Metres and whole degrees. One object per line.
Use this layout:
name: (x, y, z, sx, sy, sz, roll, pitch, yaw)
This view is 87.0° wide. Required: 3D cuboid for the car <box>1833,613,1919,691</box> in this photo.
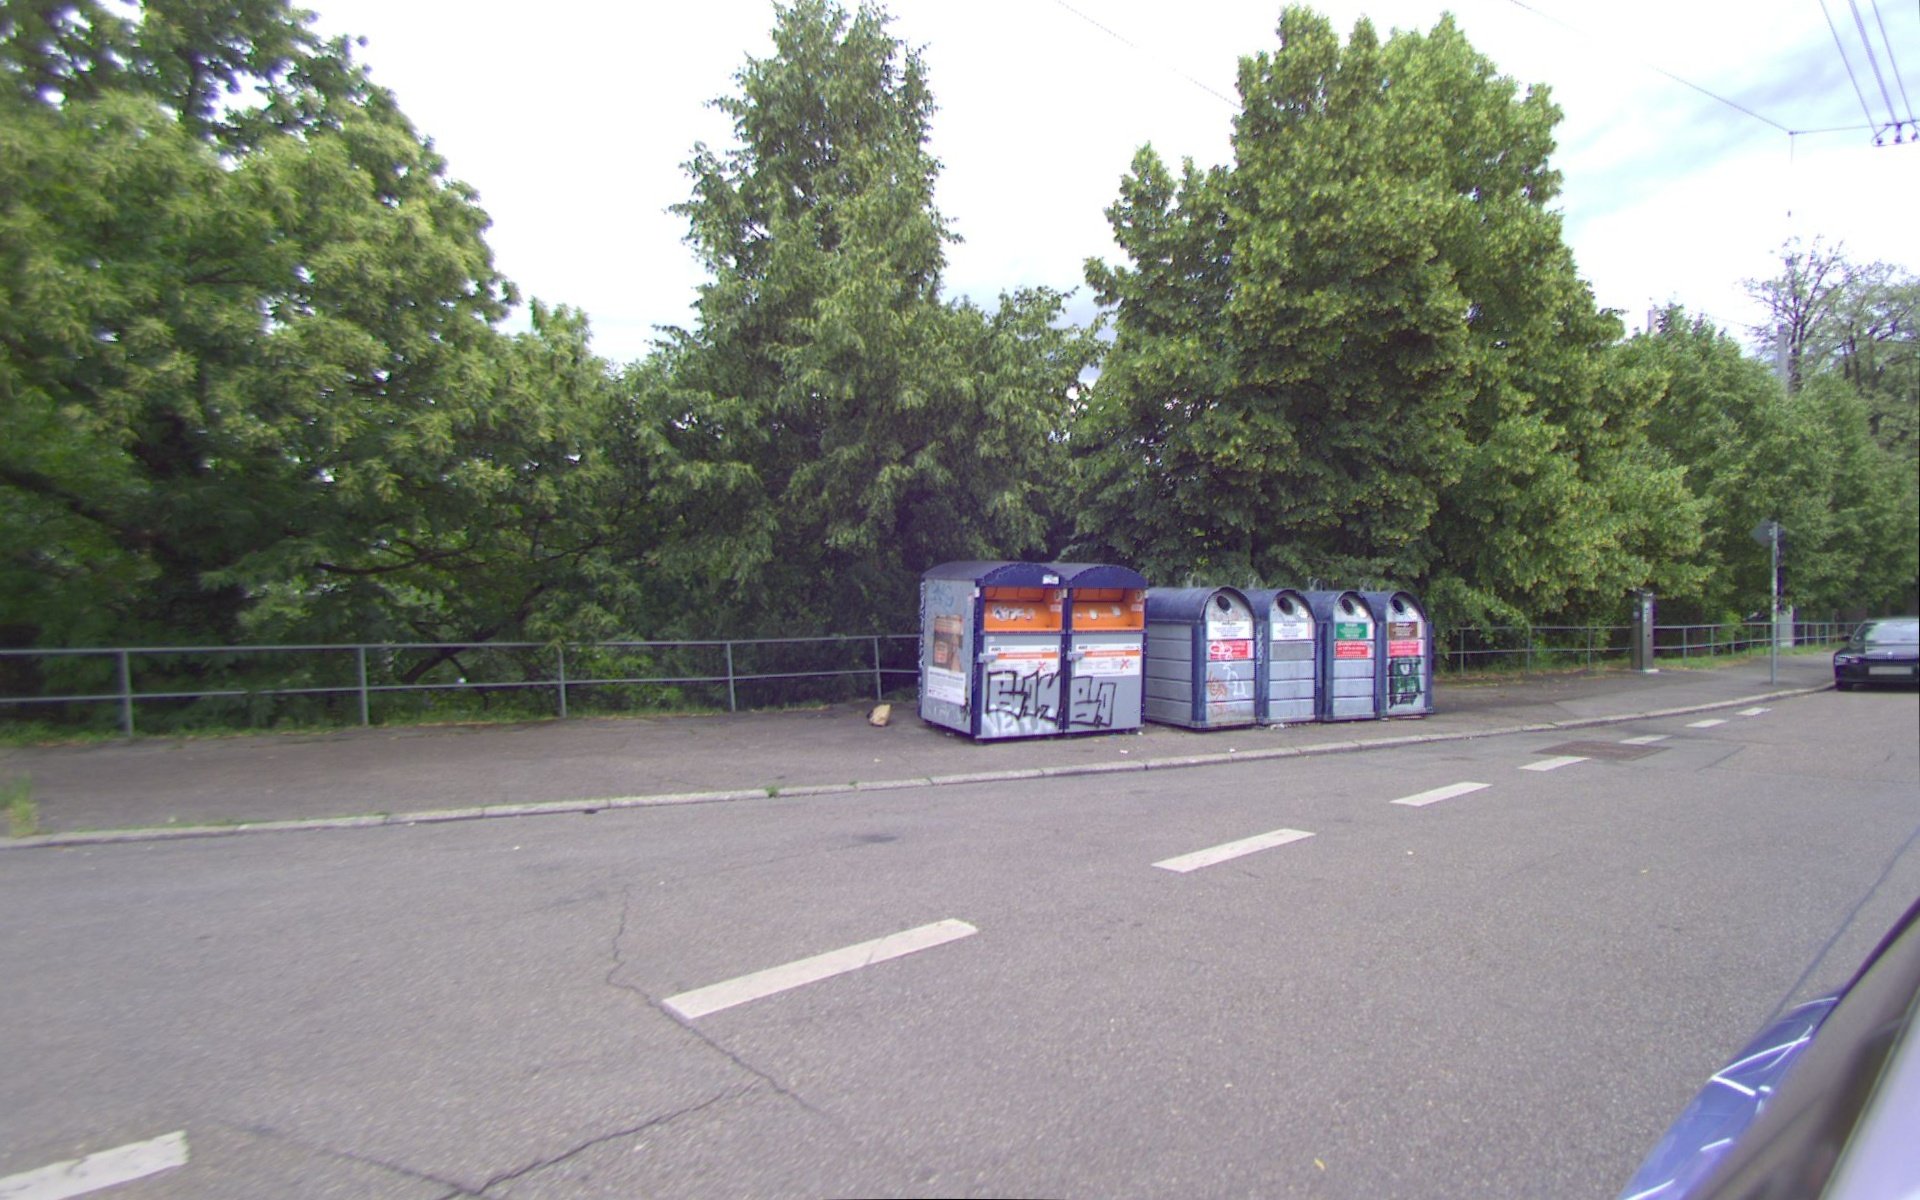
car: (19.274, 0.992, 20.421, 4.311, 1.461, 1.861, 1, -3, -41)
